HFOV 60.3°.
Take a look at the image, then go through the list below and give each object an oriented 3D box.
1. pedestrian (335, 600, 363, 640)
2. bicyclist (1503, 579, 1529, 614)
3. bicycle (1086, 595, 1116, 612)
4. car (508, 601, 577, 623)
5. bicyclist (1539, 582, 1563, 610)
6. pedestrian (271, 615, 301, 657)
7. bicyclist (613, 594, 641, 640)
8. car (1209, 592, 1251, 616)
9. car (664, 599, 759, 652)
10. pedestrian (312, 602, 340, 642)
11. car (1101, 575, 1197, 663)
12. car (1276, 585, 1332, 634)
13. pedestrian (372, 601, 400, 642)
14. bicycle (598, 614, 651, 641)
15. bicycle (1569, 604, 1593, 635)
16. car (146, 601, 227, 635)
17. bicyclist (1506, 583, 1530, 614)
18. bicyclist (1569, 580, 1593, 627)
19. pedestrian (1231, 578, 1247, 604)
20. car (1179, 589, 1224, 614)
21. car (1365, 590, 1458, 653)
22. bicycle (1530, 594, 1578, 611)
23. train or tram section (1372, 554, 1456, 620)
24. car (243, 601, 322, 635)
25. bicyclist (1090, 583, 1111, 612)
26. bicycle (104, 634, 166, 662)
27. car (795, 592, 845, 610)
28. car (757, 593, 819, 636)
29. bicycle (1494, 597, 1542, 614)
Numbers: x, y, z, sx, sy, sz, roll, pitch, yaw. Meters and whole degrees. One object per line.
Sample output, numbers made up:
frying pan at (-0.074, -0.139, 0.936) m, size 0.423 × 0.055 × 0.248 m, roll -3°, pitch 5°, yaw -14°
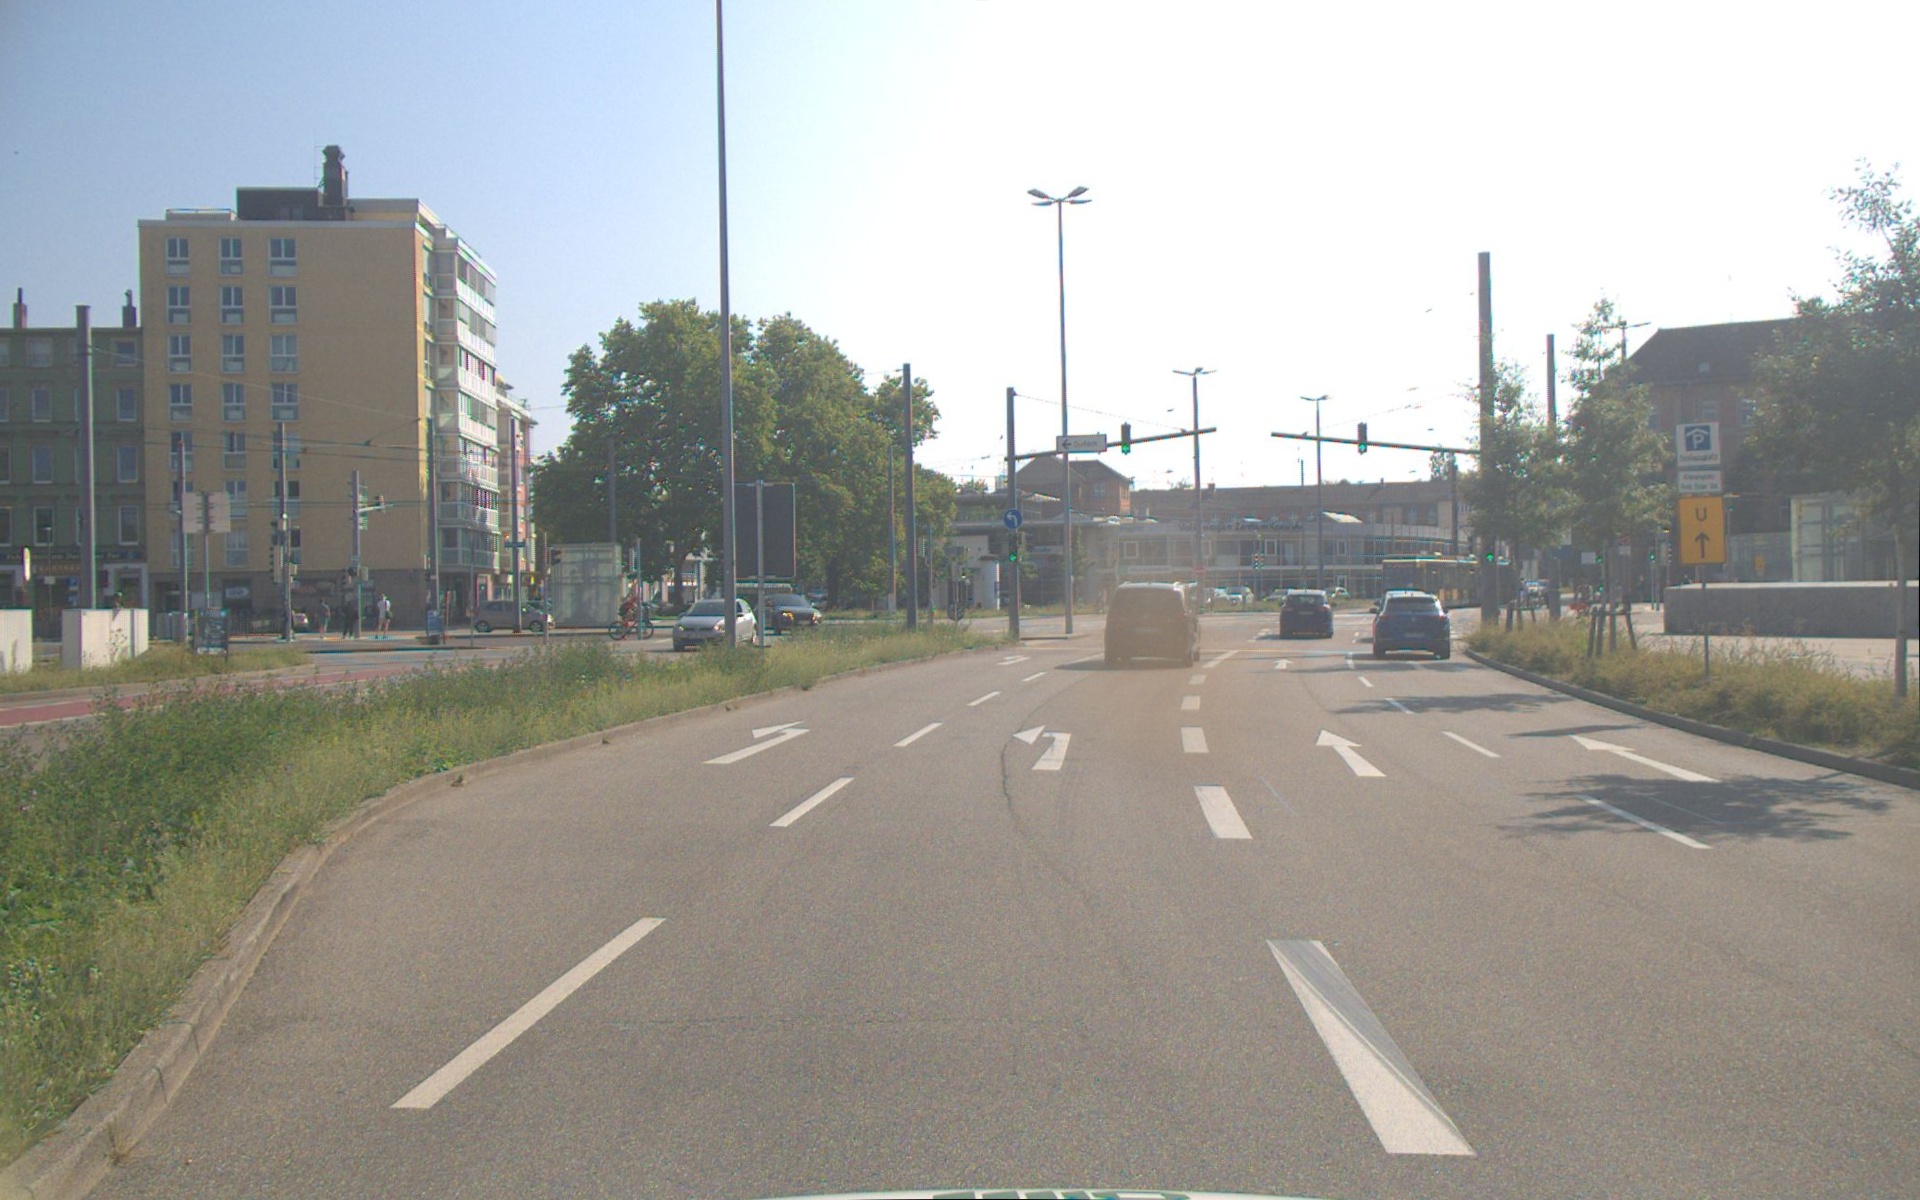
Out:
pedestrian at (-26.198, 0.847, 70.942) m, size 0.904 × 1.719 × 0.921 m, roll -1°, pitch 0°, yaw -6°
bicyclist at (32.992, -0.195, 98.168) m, size 0.922 × 2.059 × 1.084 m, roll -1°, pitch 0°, yaw -25°
bicycle at (8.792, 0.213, 102.810) m, size 0.939 × 1.075 × 2.605 m, roll -1°, pitch 0°, yaw 27°
car at (-26.856, 0.769, 106.469) m, size 4.077 × 1.378 × 1.575 m, roll -1°, pitch 0°, yaw -7°
bicyclist at (36.207, -0.229, 101.360) m, size 0.917 × 1.709 × 1.090 m, roll -1°, pitch 0°, yaw -12°
pedestrian at (-28.564, 1.519, 70.096) m, size 0.904 × 1.719 × 0.921 m, roll -1°, pitch 0°, yaw -6°
bicyclist at (-12.255, 0.632, 60.905) m, size 0.863 × 1.681 × 0.726 m, roll -1°, pitch 0°, yaw 0°
car at (17.875, 0.249, 109.287) m, size 1.583 × 1.501 × 3.996 m, roll -3°, pitch -1°, yaw 26°
car at (-7.221, 0.717, 48.528) m, size 1.775 × 1.458 × 4.227 m, roll -1°, pitch 0°, yaw 5°
pedestrian at (-27.270, 0.936, 71.126) m, size 0.904 × 1.719 × 0.921 m, roll -1°, pitch 0°, yaw -6°
car at (4.111, 0.360, 35.511) m, size 1.786 × 1.744 × 4.416 m, roll 1°, pitch 1°, yaw 10°
car at (11.849, 0.302, 57.121) m, size 1.786 × 1.562 × 4.416 m, roll -1°, pitch 0°, yaw 11°
pedestrian at (-24.645, 0.915, 71.026) m, size 0.904 × 1.719 × 0.921 m, roll -1°, pitch 0°, yaw -6°
bicycle at (-12.346, 1.012, 60.901) m, size 1.775 × 0.948 × 0.726 m, roll -1°, pitch 0°, yaw 0°
bicycle at (20.618, 0.649, 54.860) m, size 0.704 × 0.976 × 1.921 m, roll -1°, pitch 0°, yaw 21°
car at (-40.236, 0.950, 86.019) m, size 4.460 × 1.708 × 1.992 m, roll -1°, pitch 0°, yaw 37°
bicyclist at (33.850, -0.090, 100.329) m, size 0.917 × 1.831 × 1.090 m, roll -1°, pitch 0°, yaw -12°
bicyclist at (20.619, 0.120, 54.908) m, size 0.704 × 1.539 × 1.004 m, roll -1°, pitch 0°, yaw 22°
pedestrian at (16.649, -0.555, 98.580) m, size 0.762 × 1.529 × 0.710 m, roll -1°, pitch 0°, yaw 24°
car at (15.087, 0.087, 103.278) m, size 1.583 × 1.501 × 3.996 m, roll -3°, pitch -1°, yaw 26°
car at (11.194, 0.495, 41.207) m, size 1.786 × 1.453 × 4.416 m, roll -1°, pitch 0°, yaw 10°
bicycle at (36.398, 0.141, 101.408) m, size 2.572 × 0.981 × 1.090 m, roll -1°, pitch 0°, yaw -13°
train or tram section at (27.343, -0.818, 99.257) m, size 2.603 × 3.763 × 10.576 m, roll -1°, pitch 0°, yaw 28°
car at (-35.261, 0.932, 86.062) m, size 4.466 × 1.708 × 1.989 m, roll -1°, pitch 0°, yaw 41°
bicyclist at (8.745, -0.134, 102.723) m, size 0.939 × 1.779 × 1.165 m, roll -1°, pitch 0°, yaw 28°
bicycle at (-28.645, 1.664, 57.470) m, size 1.775 × 0.948 × 0.726 m, roll -1°, pitch 0°, yaw 0°
car at (-12.530, 0.121, 148.221) m, size 1.675 × 1.549 × 4.486 m, roll -1°, pitch 0°, yaw 43°
car at (-6.995, 0.564, 67.010) m, size 1.667 × 1.645 × 4.440 m, roll -1°, pitch 0°, yaw -17°
bicycle at (33.871, 0.339, 100.336) m, size 2.572 × 0.981 × 1.090 m, roll -1°, pitch 0°, yaw -13°
